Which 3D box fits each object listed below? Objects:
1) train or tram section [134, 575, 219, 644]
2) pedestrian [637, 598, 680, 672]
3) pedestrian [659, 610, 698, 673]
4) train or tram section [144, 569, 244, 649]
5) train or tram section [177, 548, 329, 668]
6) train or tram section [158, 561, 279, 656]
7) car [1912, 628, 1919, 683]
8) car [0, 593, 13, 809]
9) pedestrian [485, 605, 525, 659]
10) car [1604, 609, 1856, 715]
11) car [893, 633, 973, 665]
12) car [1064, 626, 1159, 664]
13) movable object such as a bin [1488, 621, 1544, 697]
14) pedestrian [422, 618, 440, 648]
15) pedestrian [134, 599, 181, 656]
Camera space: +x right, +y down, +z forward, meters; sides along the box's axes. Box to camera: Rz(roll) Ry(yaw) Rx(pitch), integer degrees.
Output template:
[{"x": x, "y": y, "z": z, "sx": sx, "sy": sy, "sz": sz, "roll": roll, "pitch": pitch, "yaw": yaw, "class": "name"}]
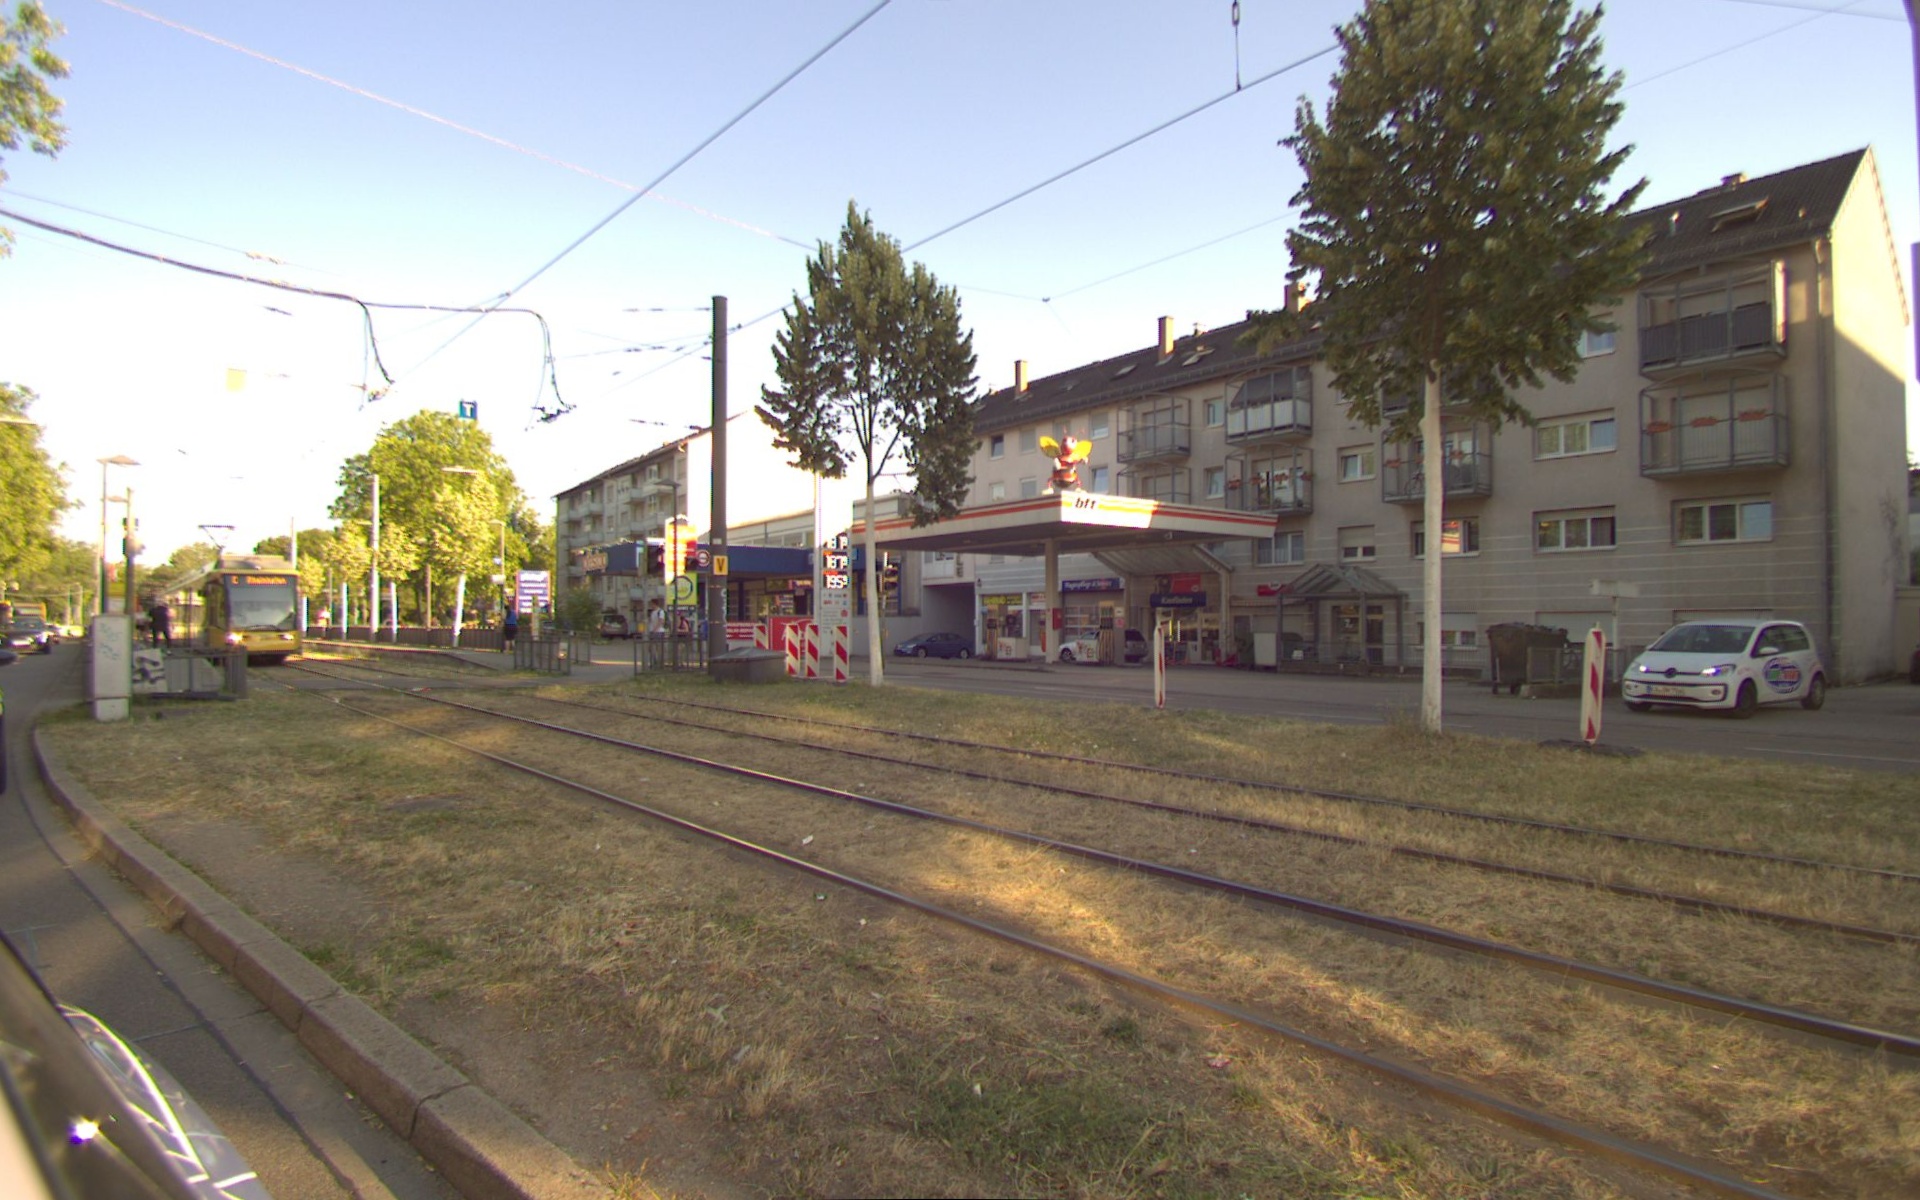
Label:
[{"x": -44.548, "y": 0.590, "z": 57.389, "sx": 2.998, "sy": 3.544, "sz": 10.110, "roll": 3, "pitch": -2, "yaw": -42, "class": "train or tram section"}, {"x": -8.059, "y": 0.934, "z": 27.028, "sx": 0.847, "sy": 1.947, "sz": 0.756, "roll": 2, "pitch": -2, "yaw": -43, "class": "pedestrian"}, {"x": -8.015, "y": 1.178, "z": 28.852, "sx": 0.744, "sy": 1.760, "sz": 0.861, "roll": 2, "pitch": -2, "yaw": -44, "class": "pedestrian"}, {"x": -37.852, "y": 0.499, "z": 49.819, "sx": 2.998, "sy": 3.544, "sz": 10.110, "roll": 3, "pitch": -2, "yaw": -42, "class": "train or tram section"}, {"x": -24.424, "y": 0.331, "z": 34.687, "sx": 2.998, "sy": 3.544, "sz": 10.110, "roll": 3, "pitch": -2, "yaw": -42, "class": "train or tram section"}, {"x": -31.124, "y": 0.412, "z": 42.248, "sx": 2.998, "sy": 3.544, "sz": 10.110, "roll": 3, "pitch": -2, "yaw": -42, "class": "train or tram section"}, {"x": 27.627, "y": 1.476, "z": 27.630, "sx": 3.877, "sy": 1.428, "sz": 1.821, "roll": -1, "pitch": 0, "yaw": -38, "class": "car"}, {"x": -9.324, "y": 0.826, "z": 8.479, "sx": 1.884, "sy": 1.628, "sz": 4.088, "roll": -2, "pitch": 0, "yaw": -45, "class": "car"}, {"x": -14.711, "y": 1.021, "z": 32.711, "sx": 0.923, "sy": 1.666, "sz": 0.927, "roll": -2, "pitch": 0, "yaw": -41, "class": "pedestrian"}, {"x": 12.356, "y": 0.963, "z": 16.229, "sx": 3.763, "sy": 1.523, "sz": 1.823, "roll": 2, "pitch": -2, "yaw": -28, "class": "car"}, {"x": -1.375, "y": 2.462, "z": 51.540, "sx": 3.745, "sy": 1.535, "sz": 1.821, "roll": 1, "pitch": -2, "yaw": -38, "class": "car"}, {"x": 6.422, "y": 1.888, "z": 43.173, "sx": 1.788, "sy": 1.535, "sz": 3.837, "roll": 1, "pitch": -2, "yaw": -37, "class": "car"}, {"x": 10.657, "y": 1.121, "z": 19.406, "sx": 0.655, "sy": 1.411, "sz": 0.750, "roll": 2, "pitch": -3, "yaw": -42, "class": "movable object such as a bin"}, {"x": -33.851, "y": 2.096, "z": 64.794, "sx": 0.744, "sy": 1.896, "sz": 1.002, "roll": -2, "pitch": 0, "yaw": -42, "class": "pedestrian"}, {"x": -22.579, "y": 0.773, "z": 28.476, "sx": 0.789, "sy": 1.562, "sz": 0.906, "roll": -1, "pitch": -1, "yaw": 41, "class": "pedestrian"}]
